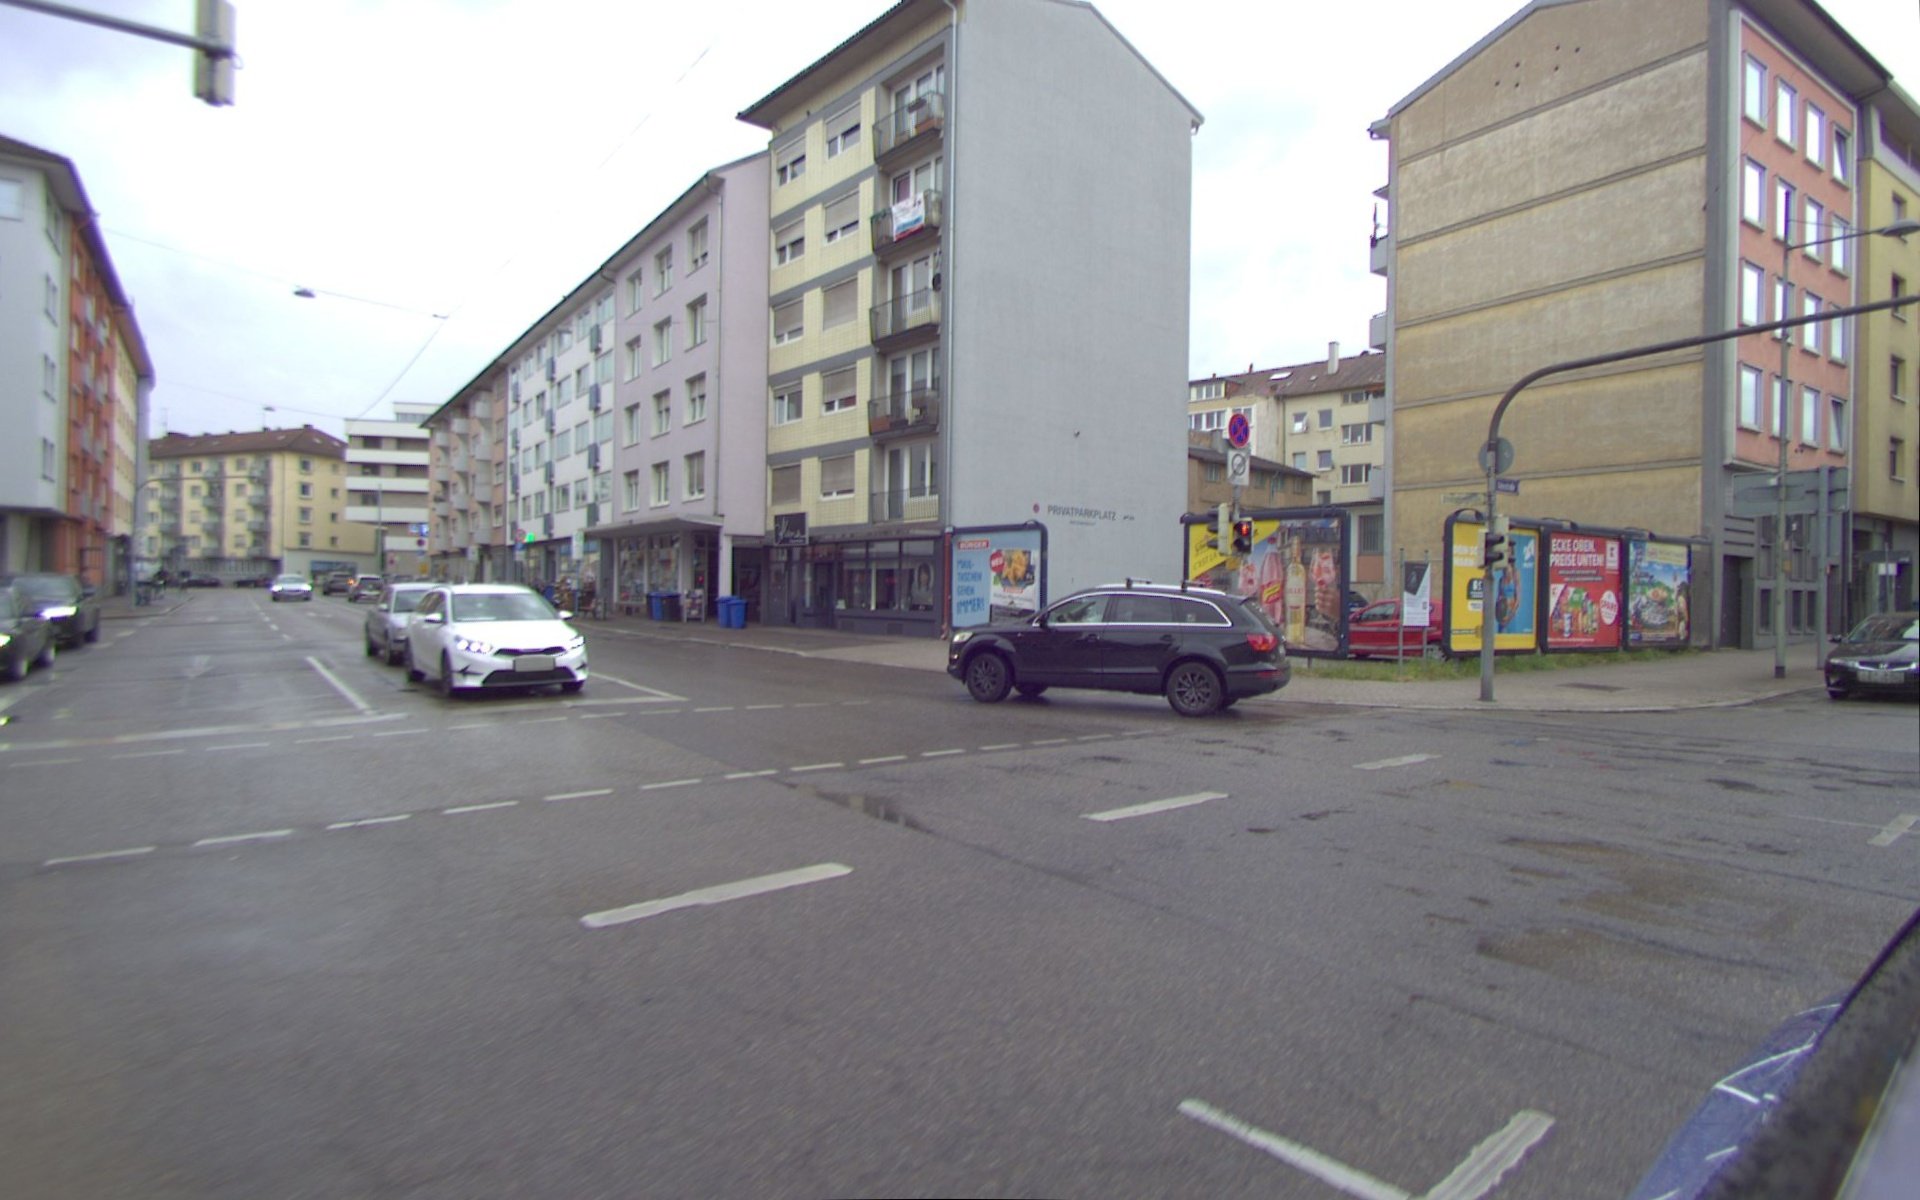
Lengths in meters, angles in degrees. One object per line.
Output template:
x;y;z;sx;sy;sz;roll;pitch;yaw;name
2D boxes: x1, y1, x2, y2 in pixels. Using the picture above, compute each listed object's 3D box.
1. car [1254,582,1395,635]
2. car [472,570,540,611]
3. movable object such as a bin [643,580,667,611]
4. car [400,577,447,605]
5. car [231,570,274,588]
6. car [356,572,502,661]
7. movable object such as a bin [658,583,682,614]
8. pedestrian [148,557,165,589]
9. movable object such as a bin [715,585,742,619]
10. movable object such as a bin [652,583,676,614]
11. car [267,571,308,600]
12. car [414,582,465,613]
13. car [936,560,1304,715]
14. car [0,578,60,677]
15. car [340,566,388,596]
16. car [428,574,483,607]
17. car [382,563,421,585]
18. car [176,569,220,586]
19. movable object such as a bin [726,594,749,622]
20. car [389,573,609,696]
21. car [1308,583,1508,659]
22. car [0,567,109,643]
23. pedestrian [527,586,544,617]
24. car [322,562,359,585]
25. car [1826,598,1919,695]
12.532;0.333;35.157;2.110;1.711;4.788;1;-1;-18;car
-19.476;-0.413;43.306;1.952;1.638;4.128;1;0;-34;car
-11.907;-0.169;39.516;0.685;1.201;0.706;1;-2;-36;movable object such as a bin
-32.970;-0.584;62.163;1.953;1.638;4.126;1;0;-36;car
-74.258;-2.203;106.237;3.917;1.728;1.912;0;-2;22;car
-10.359;0.237;19.576;1.811;1.504;4.523;1;1;-37;car
-10.924;-0.063;38.174;0.685;1.152;0.641;1;-2;-36;movable object such as a bin
-47.713;-1.600;60.106;0.679;1.830;0.704;2;-2;-43;pedestrian
-7.952;0.070;34.727;0.685;1.152;0.641;1;-2;-36;movable object such as a bin
-11.349;-0.049;38.777;0.685;1.152;0.641;1;-2;-36;movable object such as a bin
-37.958;-0.826;57.079;1.820;1.504;4.001;1;1;-35;car
-29.548;-0.155;57.357;1.953;1.638;4.126;1;0;-36;car
2.278;0.438;14.555;4.849;1.893;2.009;1;-1;26;car
-16.102;0.369;16.581;1.637;1.443;4.382;1;1;-37;car
-33.635;-1.076;57.079;1.962;1.504;4.001;1;1;-35;car
-26.314;-0.522;52.709;1.953;1.638;4.127;1;0;-35;car
-39.240;-1.846;71.020;1.962;1.401;4.002;1;2;-35;car
-82.609;-2.404;109.723;3.912;1.728;1.915;0;-2;19;car
-7.519;0.277;34.223;0.611;0.919;0.533;1;-2;-36;movable object such as a bin
-6.939;0.382;14.939;1.885;1.504;4.662;1;1;-38;car
10.179;0.431;23.142;2.052;1.571;3.657;1;0;-42;car
-20.567;0.064;22.848;1.723;1.561;4.252;1;1;-36;car
-20.843;0.090;49.723;0.615;1.523;0.705;1;-2;-36;pedestrian
-43.266;-1.852;70.658;1.962;1.504;4.001;1;1;-35;car
16.684;0.730;17.426;3.981;1.516;1.788;-1;-1;-36;car
